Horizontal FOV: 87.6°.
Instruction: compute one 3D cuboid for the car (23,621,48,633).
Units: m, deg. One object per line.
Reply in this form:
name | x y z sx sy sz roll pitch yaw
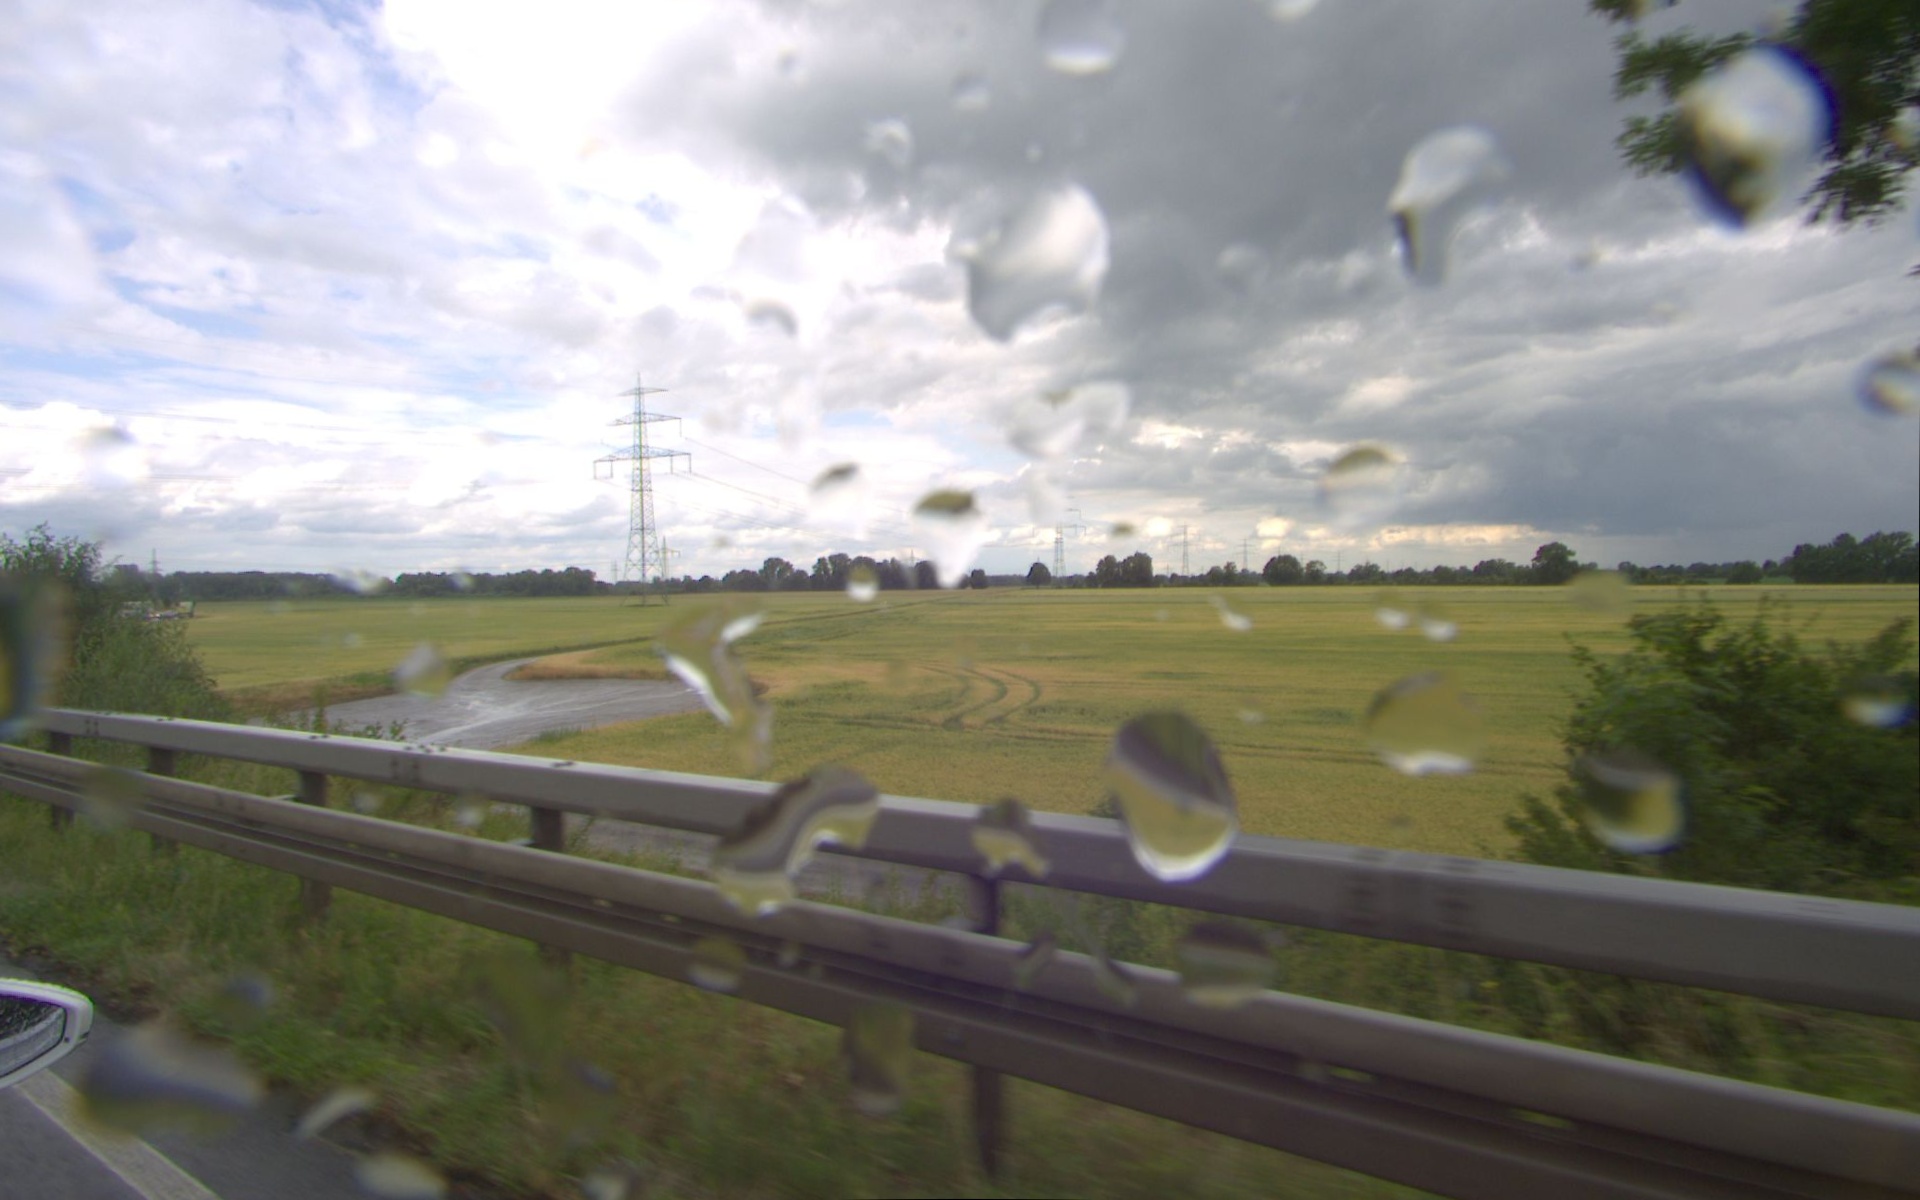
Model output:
car | -153.619 4.485 166.420 2.200 2.039 3.983 0 -2 -28
